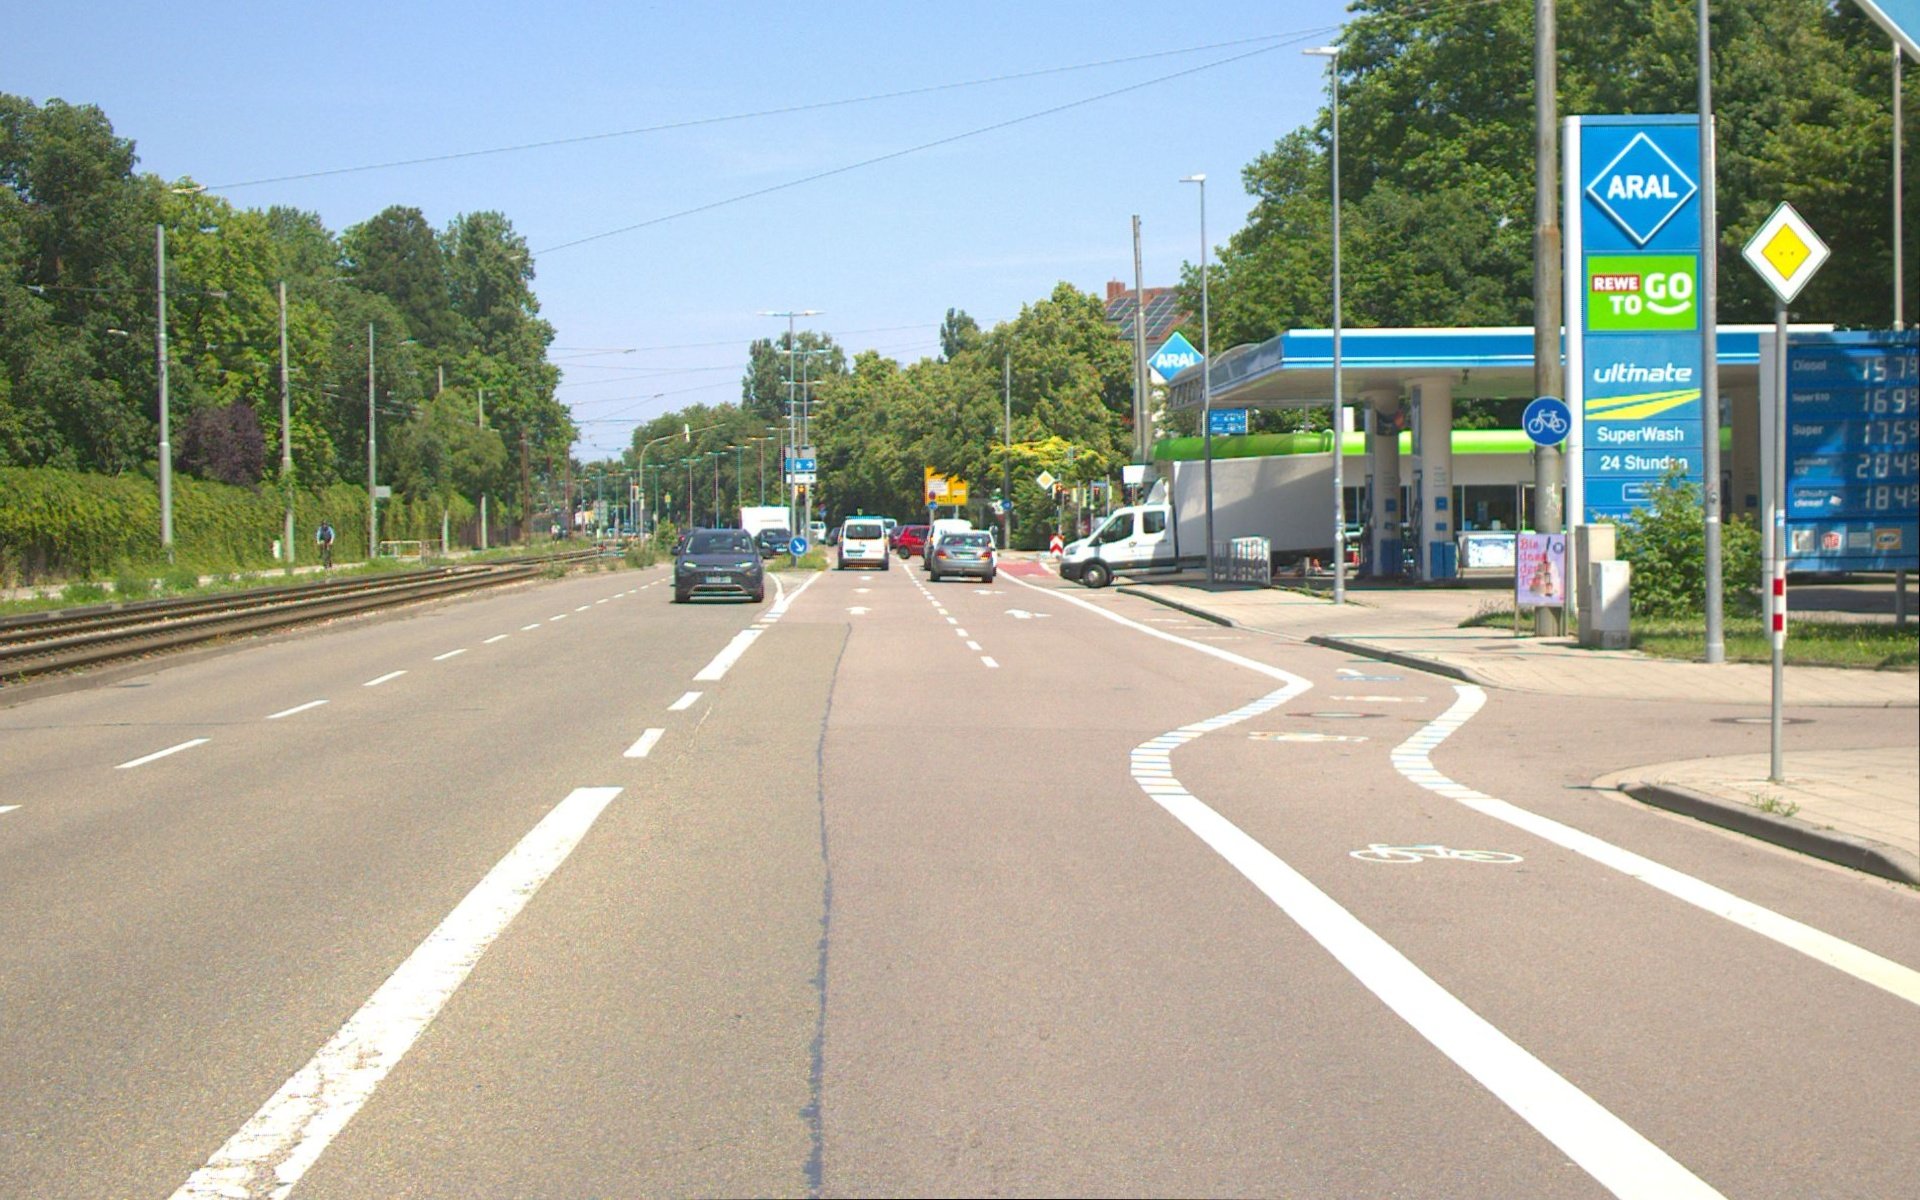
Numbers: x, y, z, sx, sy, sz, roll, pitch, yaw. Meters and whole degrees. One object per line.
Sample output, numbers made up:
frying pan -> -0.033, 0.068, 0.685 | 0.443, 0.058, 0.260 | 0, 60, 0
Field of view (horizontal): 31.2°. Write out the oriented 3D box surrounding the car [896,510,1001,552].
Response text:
car -> -0.514, -3.048, 151.526 | 4.317, 1.653, 1.758 | -1, 2, 32

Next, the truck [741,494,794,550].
truck -> -9.463, -3.871, 169.738 | 2.533, 2.670, 11.819 | 0, 2, -3

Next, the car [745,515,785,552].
car -> -9.037, -3.090, 159.741 | 1.755, 1.625, 4.324 | -2, 1, -3

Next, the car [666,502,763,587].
car -> -4.999, -1.152, 70.414 | 1.755, 1.625, 4.324 | -2, 1, -2

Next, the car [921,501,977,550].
car -> -0.395, -2.623, 120.807 | 1.755, 1.625, 4.324 | -2, 1, -2

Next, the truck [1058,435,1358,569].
truck -> 6.816, -2.674, 94.084 | 7.971, 3.590, 2.662 | 0, 1, 9

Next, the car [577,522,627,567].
car -> -13.776, -2.155, 132.243 | 1.755, 1.625, 4.325 | -2, 1, -7

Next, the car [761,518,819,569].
car -> -5.796, -1.951, 117.473 | 1.755, 1.625, 4.324 | -2, 1, 0

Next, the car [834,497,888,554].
car -> -3.454, -2.608, 119.681 | 1.755, 1.868, 4.324 | -2, 1, -2

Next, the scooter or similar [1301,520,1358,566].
scooter or similar -> 10.490, -1.620, 97.639 | 1.552, 1.323, 0.537 | 0, 1, -3

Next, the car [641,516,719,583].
car -> -7.320, -1.318, 89.590 | 1.755, 1.625, 4.325 | -2, 1, -7

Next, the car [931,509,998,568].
car -> 0.111, -1.813, 100.685 | 1.755, 1.625, 4.324 | -2, 1, -2
